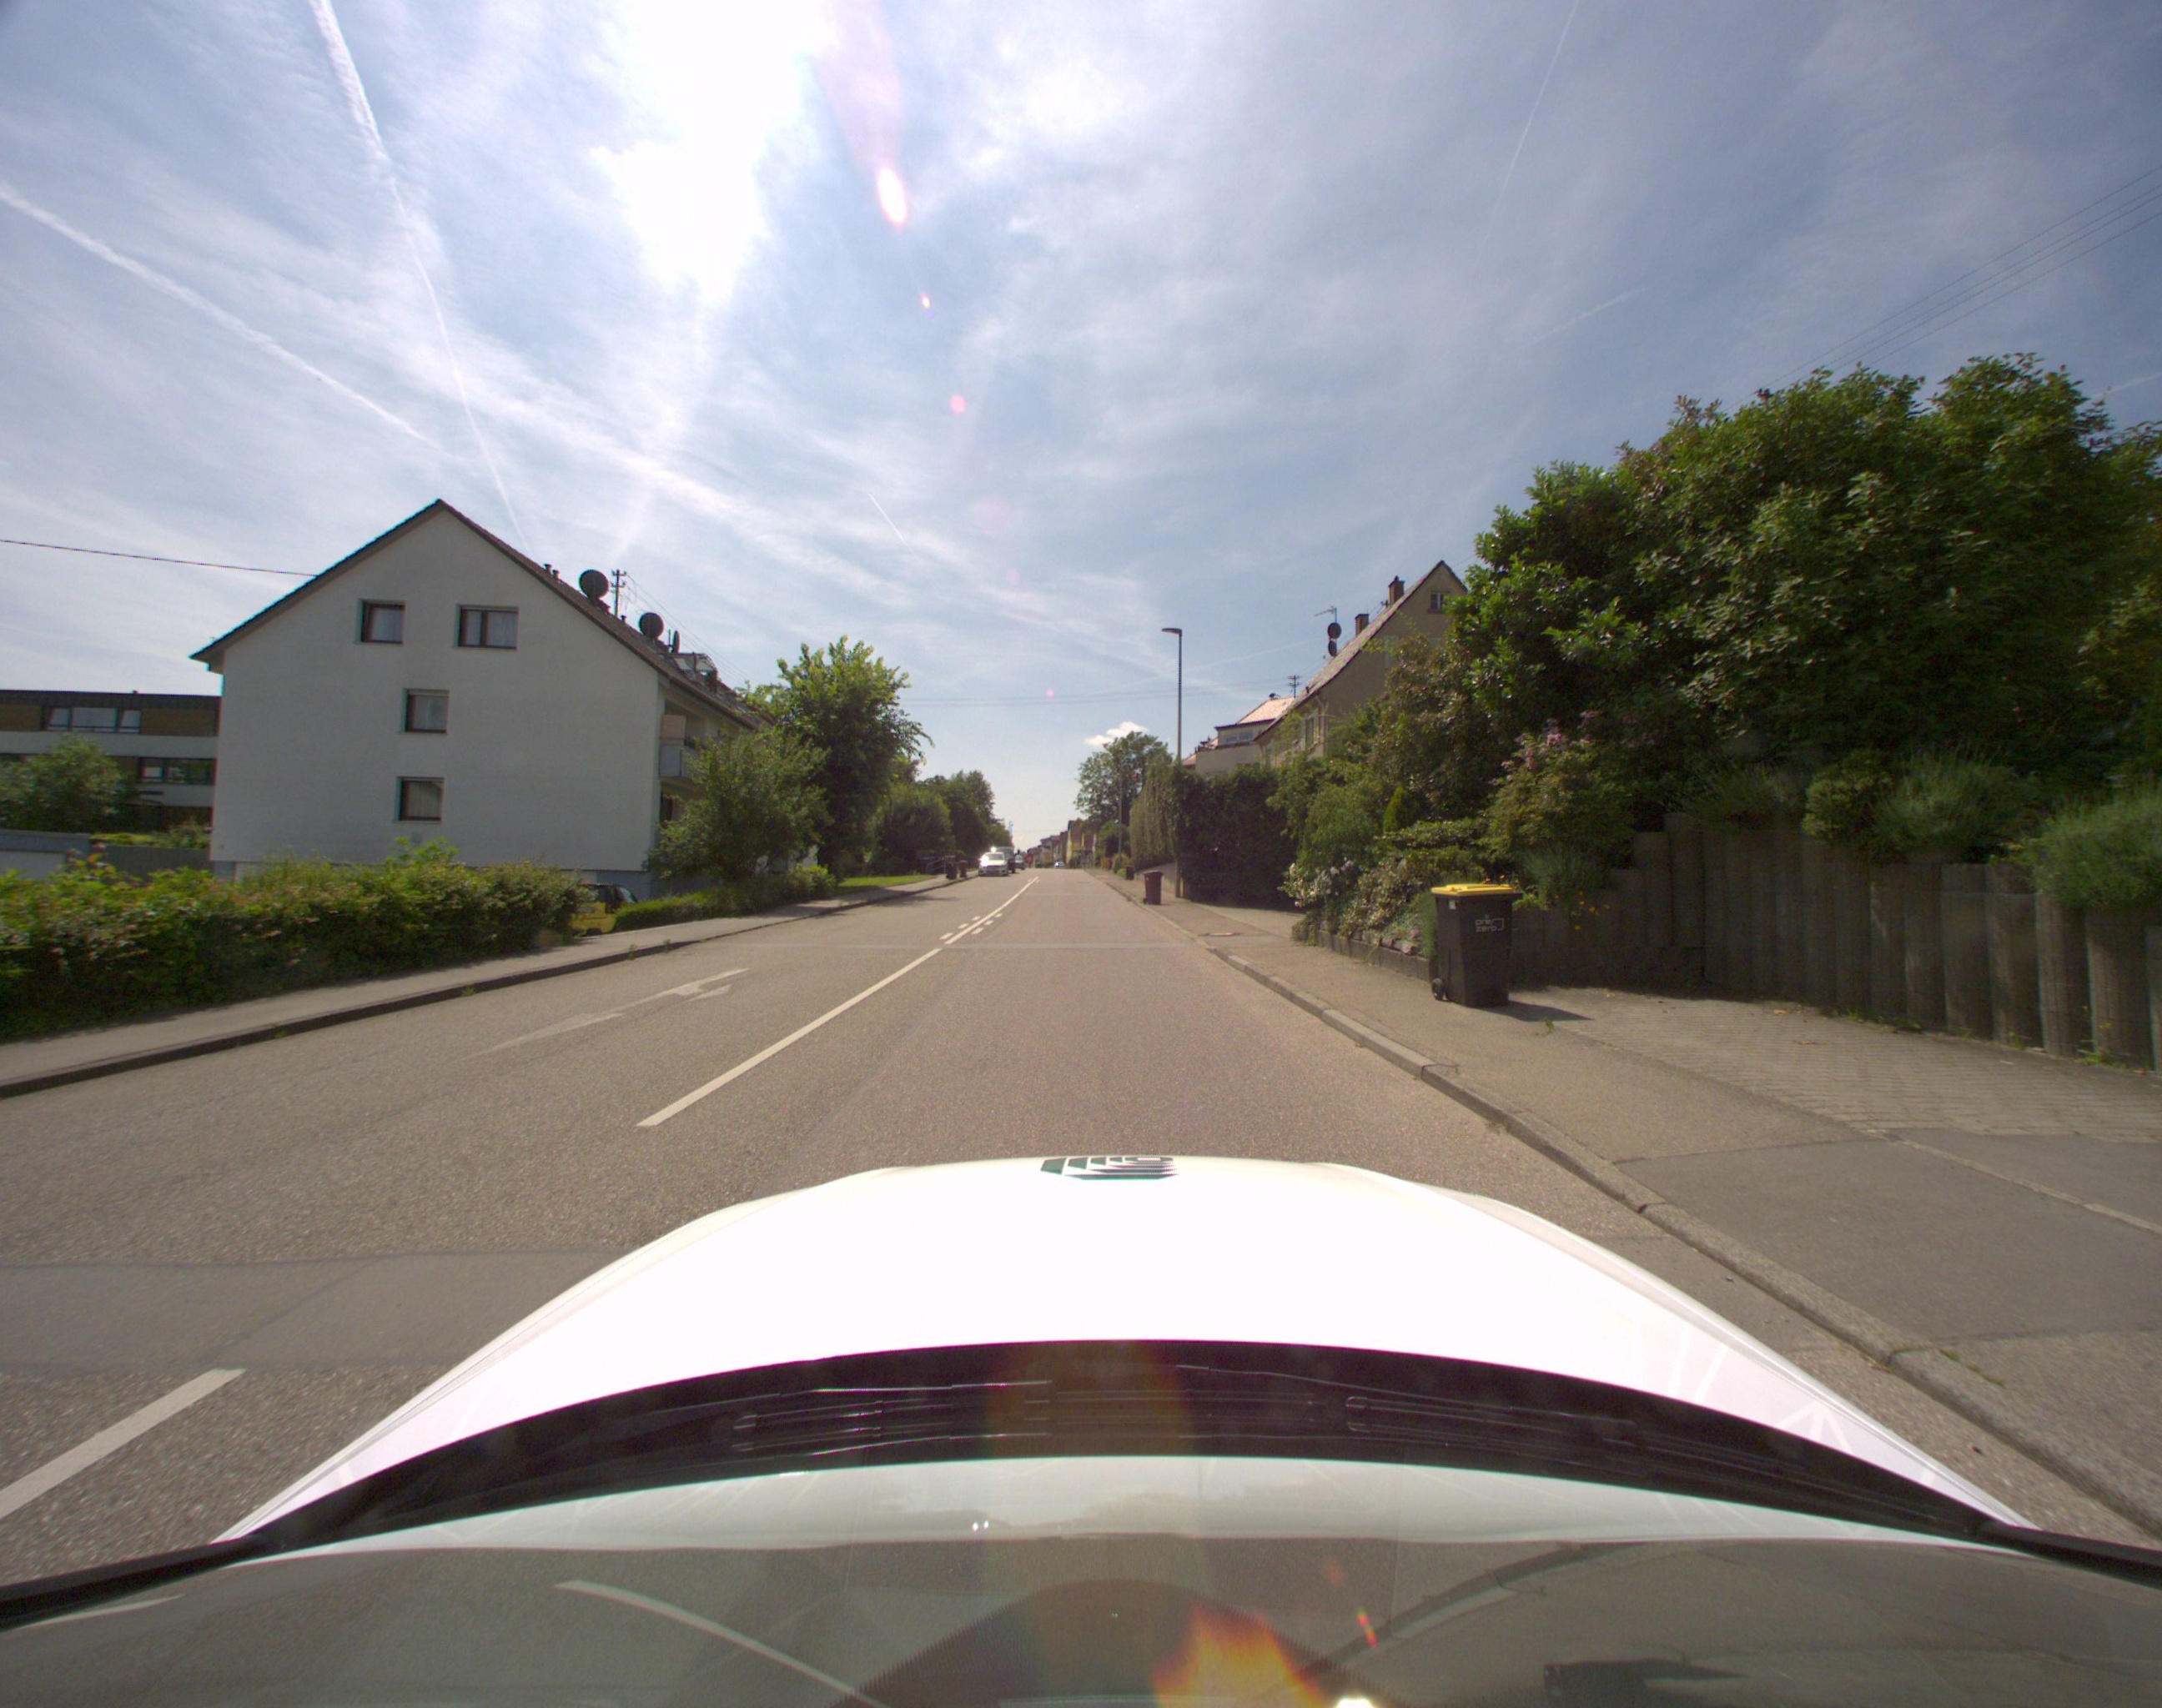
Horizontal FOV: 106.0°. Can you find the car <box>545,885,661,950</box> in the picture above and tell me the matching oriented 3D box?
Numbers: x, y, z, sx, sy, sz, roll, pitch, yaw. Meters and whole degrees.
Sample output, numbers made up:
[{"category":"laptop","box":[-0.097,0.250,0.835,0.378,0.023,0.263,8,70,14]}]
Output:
[{"category":"car","box":[-12.468,1.605,21.445,1.470,1.540,3.224,-1,-2,-8]}]

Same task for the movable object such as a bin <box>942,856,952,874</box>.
[{"category":"movable object such as a bin","box":[-8.492,0.679,51.550,0.515,1.104,0.529,-1,0,-3]}]

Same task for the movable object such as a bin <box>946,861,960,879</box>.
[{"category":"movable object such as a bin","box":[-6.822,0.839,43.430,0.616,0.917,0.687,0,0,5]}]

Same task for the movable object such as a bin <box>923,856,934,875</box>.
[{"category":"movable object such as a bin","box":[-9.522,0.723,50.965,0.544,1.178,0.674,0,0,3]}]

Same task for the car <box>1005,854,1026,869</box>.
[{"category":"car","box":[-6.244,0.711,78.233,1.775,1.394,4.406,-1,-1,-1]}]

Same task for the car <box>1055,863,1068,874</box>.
[{"category":"car","box":[-3.179,2.360,133.967,1.989,1.603,3.996,-1,0,-3]}]

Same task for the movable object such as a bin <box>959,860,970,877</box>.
[{"category":"movable object such as a bin","box":[-6.589,0.824,46.116,0.504,0.988,0.564,0,0,5]}]

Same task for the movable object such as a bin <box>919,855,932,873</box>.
[{"category":"movable object such as a bin","box":[-9.566,0.607,50.096,0.600,1.096,0.651,0,0,5]}]

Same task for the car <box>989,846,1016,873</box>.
[{"category":"car","box":[-5.851,0.378,61.237,1.893,1.920,4.863,-1,0,-4]}]

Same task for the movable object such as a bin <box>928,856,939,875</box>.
[{"category":"movable object such as a bin","box":[-9.378,0.733,51.774,0.474,1.178,0.841,0,0,4]}]

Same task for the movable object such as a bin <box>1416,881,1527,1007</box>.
[{"category":"movable object such as a bin","box":[3.572,0.795,7.509,0.586,1.059,0.919,-1,0,1]}]

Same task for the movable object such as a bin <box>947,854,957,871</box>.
[{"category":"movable object such as a bin","box":[-8.383,0.575,52.939,0.494,1.105,0.711,-2,-1,5]}]

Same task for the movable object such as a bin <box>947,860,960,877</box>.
[{"category":"movable object such as a bin","box":[-7.001,0.809,44.597,0.561,0.917,0.643,0,0,5]}]

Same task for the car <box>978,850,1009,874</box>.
[{"category":"car","box":[-5.732,0.506,53.827,1.807,1.549,4.237,0,0,-4]}]

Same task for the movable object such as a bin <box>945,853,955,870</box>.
[{"category":"movable object such as a bin","box":[-8.411,0.466,52.245,0.453,1.044,0.561,-2,-1,5]}]

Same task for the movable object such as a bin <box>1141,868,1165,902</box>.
[{"category":"movable object such as a bin","box":[2.123,0.905,24.097,0.587,0.977,0.785,-2,0,-2]}]
